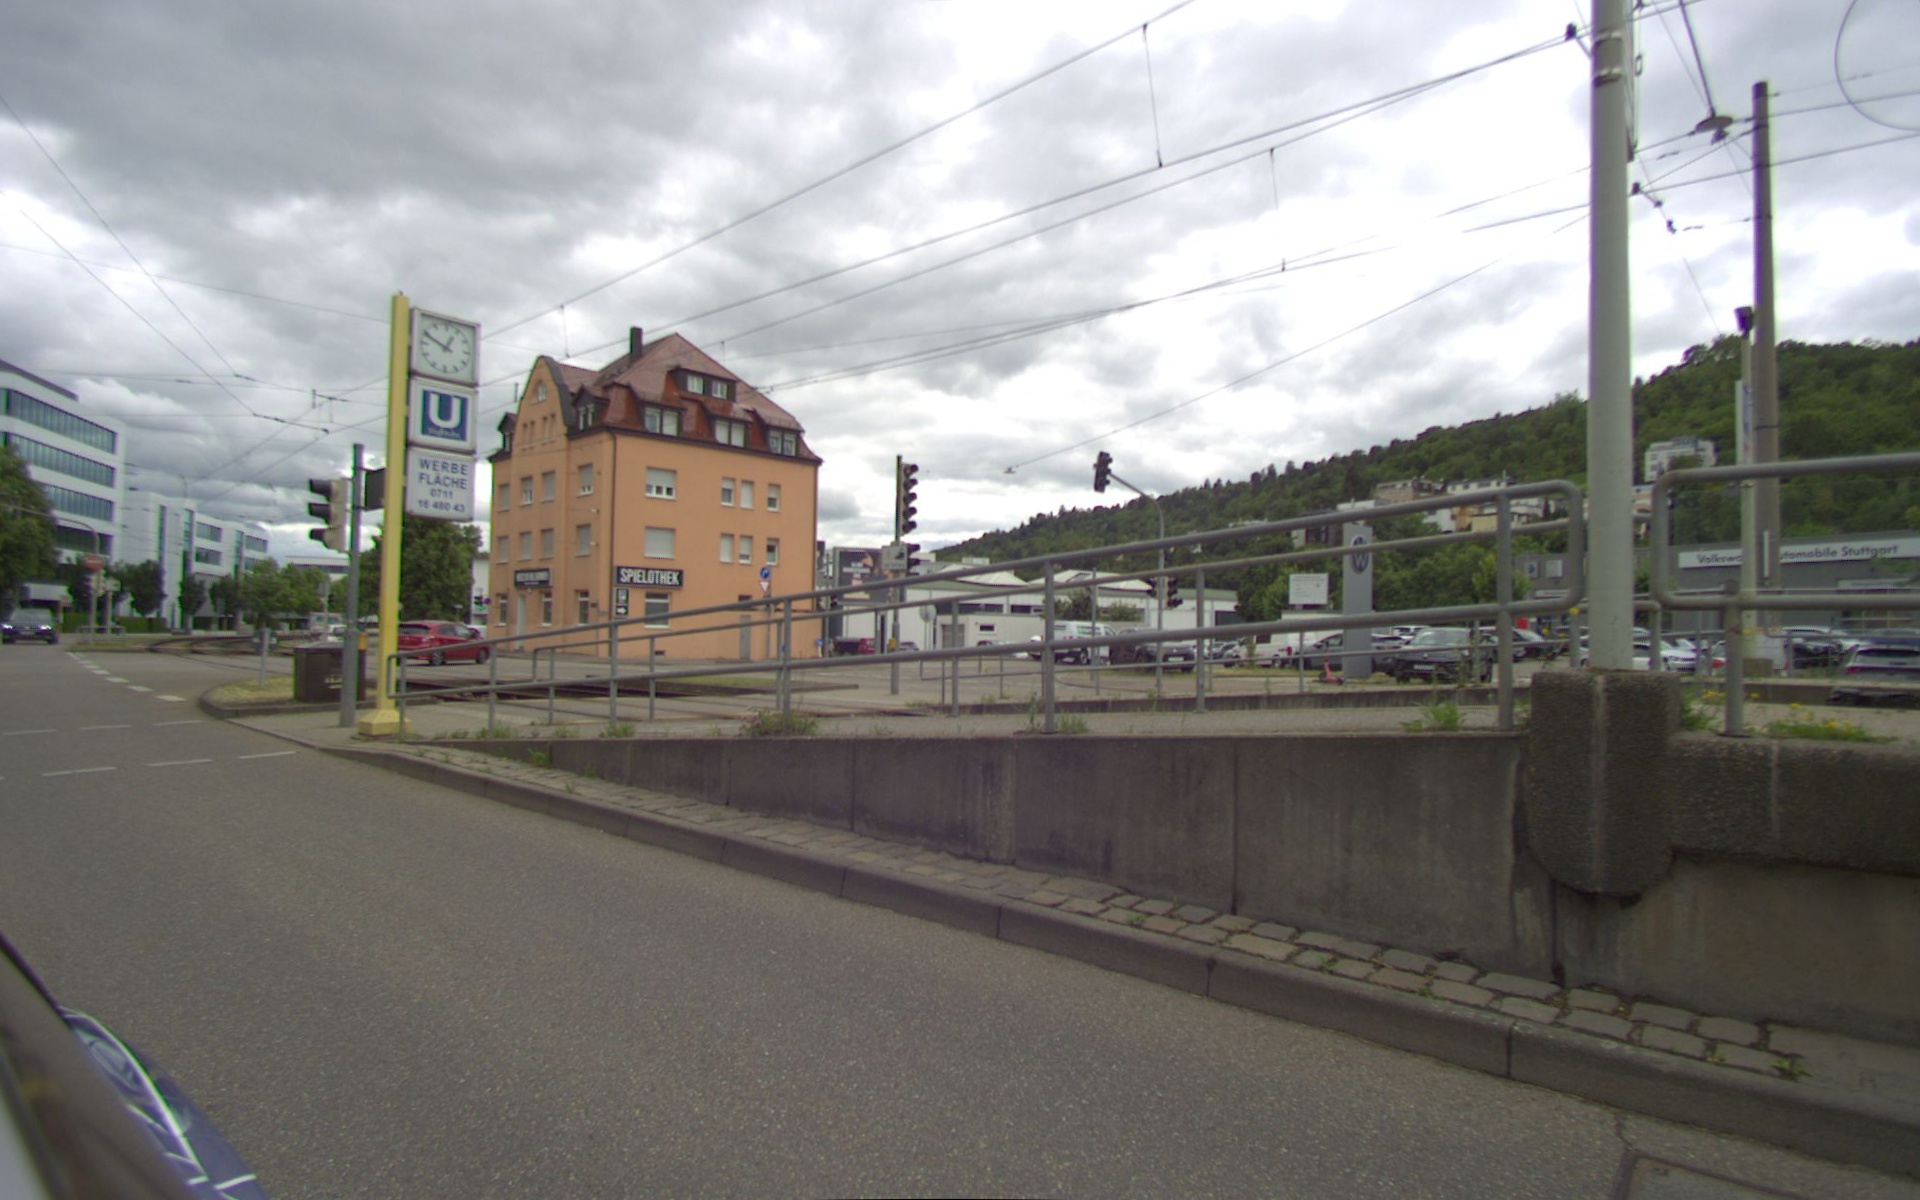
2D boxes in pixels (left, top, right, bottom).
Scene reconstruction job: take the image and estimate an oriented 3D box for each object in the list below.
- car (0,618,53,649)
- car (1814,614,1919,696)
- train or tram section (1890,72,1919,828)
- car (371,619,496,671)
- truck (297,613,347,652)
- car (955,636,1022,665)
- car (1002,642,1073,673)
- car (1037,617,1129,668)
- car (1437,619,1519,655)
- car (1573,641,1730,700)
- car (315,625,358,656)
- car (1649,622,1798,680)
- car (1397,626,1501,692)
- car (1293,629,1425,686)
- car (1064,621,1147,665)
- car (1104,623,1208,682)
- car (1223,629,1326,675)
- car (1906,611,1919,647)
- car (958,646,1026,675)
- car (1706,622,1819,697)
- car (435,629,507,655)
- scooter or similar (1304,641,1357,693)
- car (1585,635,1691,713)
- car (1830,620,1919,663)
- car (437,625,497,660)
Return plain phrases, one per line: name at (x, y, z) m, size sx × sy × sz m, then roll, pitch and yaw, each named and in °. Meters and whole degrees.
car at (-43.055, 1.528, 46.637) m, size 1.602 × 1.342 × 3.180 m, roll 2°, pitch -2°, yaw -38°
car at (20.354, 1.209, 22.312) m, size 1.924 × 1.565 × 3.952 m, roll 4°, pitch 0°, yaw 35°
train or tram section at (9.840, -0.781, 1.742) m, size 11.902 × 3.997 × 2.712 m, roll -1°, pitch -3°, yaw 40°
car at (-17.445, 1.477, 33.726) m, size 1.749 × 1.541 × 3.728 m, roll 2°, pitch -1°, yaw 10°
truck at (-43.459, 2.200, 69.077) m, size 2.281 × 2.440 × 5.672 m, roll 4°, pitch -3°, yaw -27°
car at (2.115, 3.720, 74.376) m, size 4.433 × 1.852 × 2.006 m, roll 4°, pitch 0°, yaw -30°
car at (5.388, 3.976, 70.008) m, size 4.434 × 1.852 × 2.006 m, roll 4°, pitch 0°, yaw -32°
car at (5.758, 1.911, 47.023) m, size 2.003 × 2.056 × 4.769 m, roll 3°, pitch 2°, yaw 38°
car at (31.113, 2.222, 60.863) m, size 1.821 × 1.807 × 4.014 m, roll 4°, pitch 0°, yaw -24°
car at (26.140, 2.615, 38.469) m, size 1.965 × 1.741 × 4.526 m, roll 4°, pitch 0°, yaw -20°
car at (-37.809, 2.445, 61.343) m, size 1.575 × 1.431 × 3.377 m, roll -4°, pitch -5°, yaw -43°
car at (32.153, 2.106, 42.791) m, size 1.965 × 2.012 × 4.526 m, roll 4°, pitch 0°, yaw -27°
car at (13.879, 1.619, 28.631) m, size 1.996 × 1.652 × 3.952 m, roll 1°, pitch -1°, yaw 36°
car at (14.707, 2.096, 37.478) m, size 1.967 × 1.718 × 4.010 m, roll 4°, pitch 0°, yaw -36°
car at (8.817, 2.557, 61.373) m, size 4.500 × 2.259 × 1.977 m, roll 4°, pitch 0°, yaw 34°
car at (6.599, 1.724, 34.506) m, size 1.967 × 1.652 × 4.011 m, roll -1°, pitch 2°, yaw -14°
car at (15.159, 2.503, 49.063) m, size 1.965 × 2.029 × 5.034 m, roll 4°, pitch -4°, yaw -22°
car at (48.583, 1.555, 48.290) m, size 1.965 × 1.741 × 4.526 m, roll 4°, pitch 0°, yaw -28°
car at (1.790, 3.412, 57.180) m, size 3.563 × 1.497 × 1.584 m, roll 0°, pitch -2°, yaw 36°
car at (18.896, 1.360, 23.982) m, size 1.811 × 1.487 × 3.952 m, roll 4°, pitch 0°, yaw 35°
car at (-41.591, 3.557, 86.253) m, size 1.734 × 2.117 × 6.267 m, roll 0°, pitch -2°, yaw 16°
scooter or similar at (10.258, 1.849, 28.071) m, size 0.566 × 1.297 × 1.208 m, roll 4°, pitch 0°, yaw -32°
car at (17.155, 1.791, 25.572) m, size 1.996 × 1.652 × 3.952 m, roll 4°, pitch 0°, yaw 35°
car at (43.570, 1.963, 46.860) m, size 1.965 × 1.741 × 4.526 m, roll 4°, pitch 0°, yaw -28°
car at (-25.972, 2.203, 53.273) m, size 1.677 × 1.536 × 4.004 m, roll 2°, pitch 2°, yaw -44°
